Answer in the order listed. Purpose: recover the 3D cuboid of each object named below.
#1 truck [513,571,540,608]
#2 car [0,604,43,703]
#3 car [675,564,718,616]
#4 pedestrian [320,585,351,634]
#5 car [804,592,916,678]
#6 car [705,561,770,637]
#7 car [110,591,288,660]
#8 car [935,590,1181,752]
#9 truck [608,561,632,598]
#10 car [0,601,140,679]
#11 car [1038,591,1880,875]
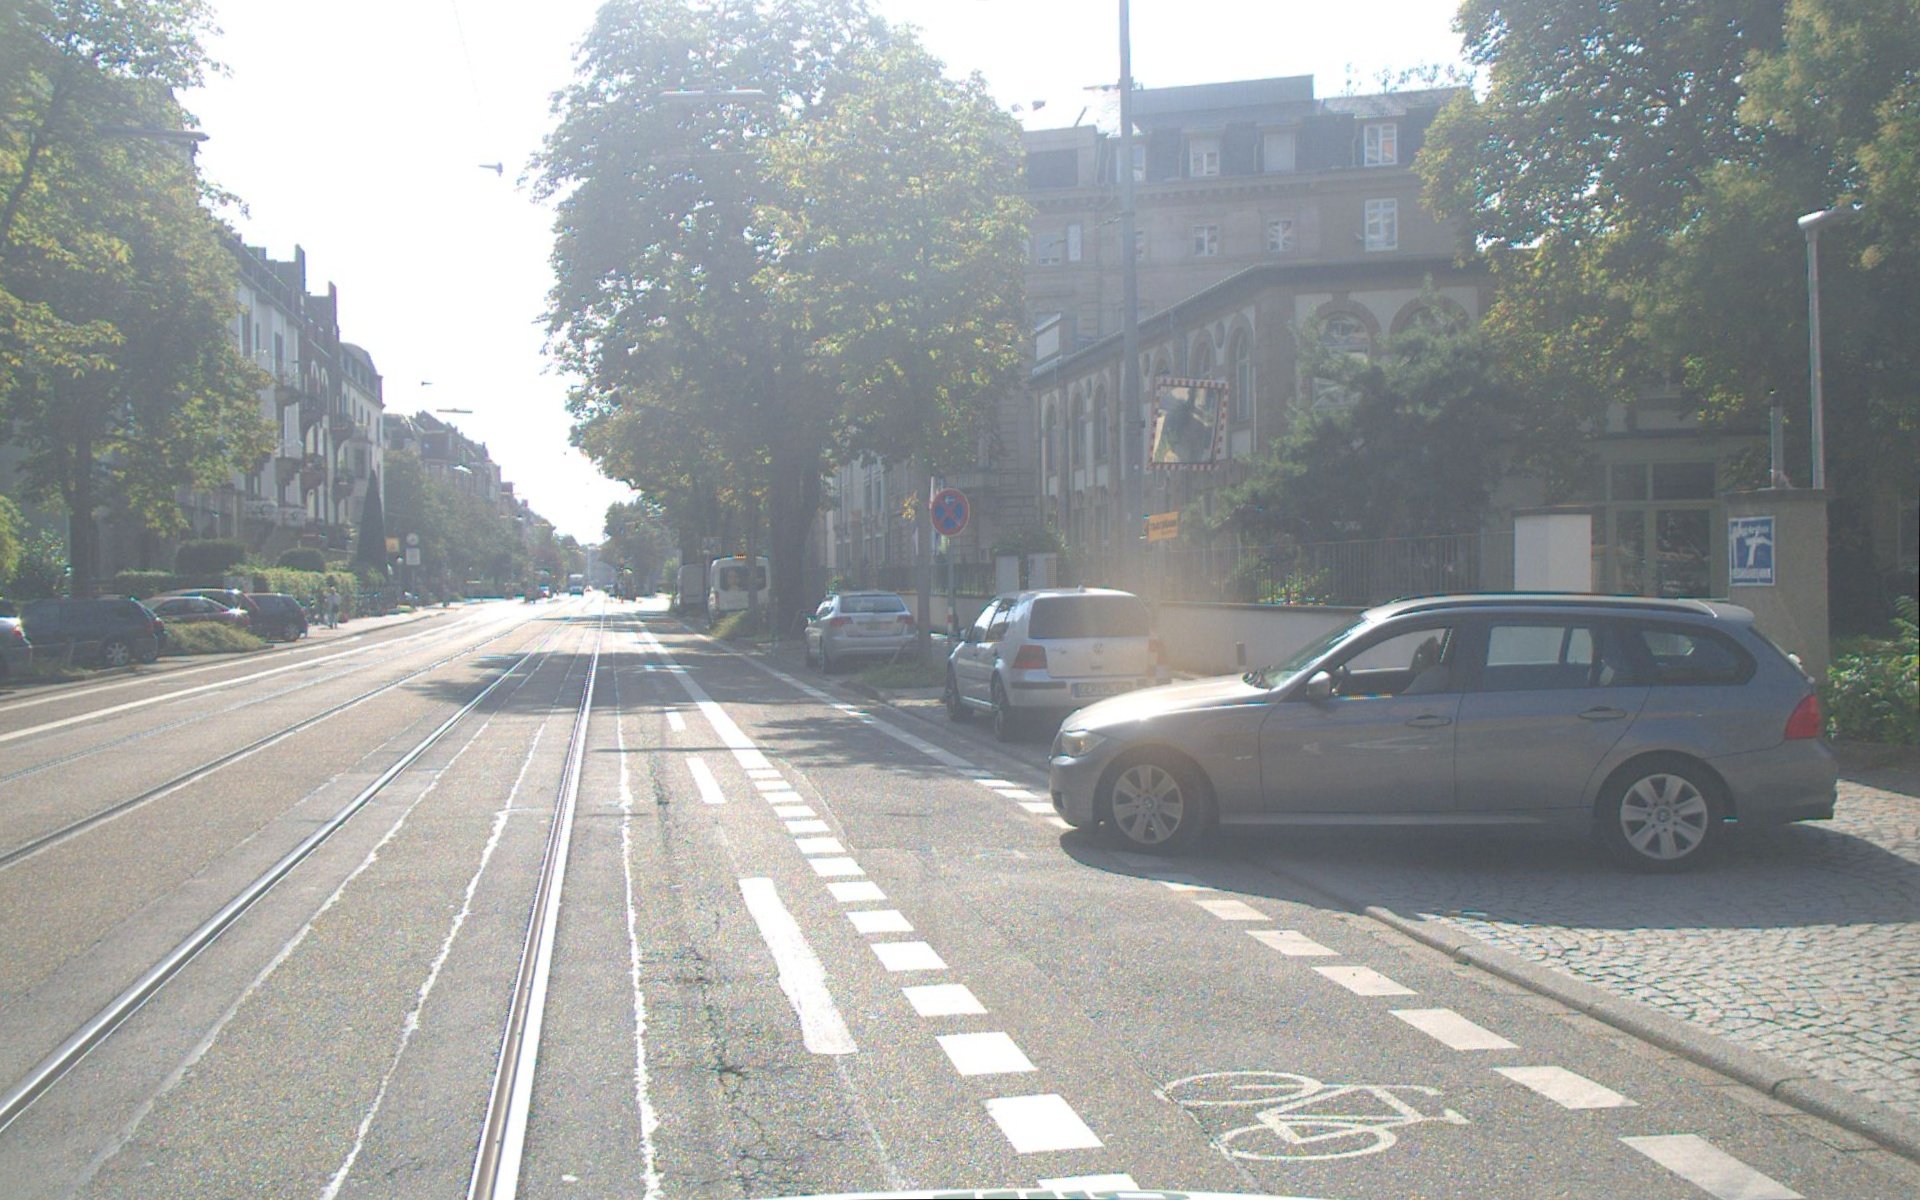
[{"bbox_3d":[-37.132,-0.913,141.708,1.959,3.027,4.556,-1,1,-13],"label":"truck"},{"bbox_3d":[-15.611,0.824,24.006,1.537,1.468,3.754,0,1,32],"label":"car"},{"bbox_3d":[-13.406,-0.517,83.900,1.969,2.518,4.465,-1,1,-11],"label":"car"},{"bbox_3d":[-22.888,0.336,60.645,0.945,1.791,0.659,-1,0,-13],"label":"pedestrian"},{"bbox_3d":[-1.878,0.595,30.259,1.566,1.443,3.624,-1,1,-11],"label":"car"},{"bbox_3d":[-7.813,-0.061,57.683,1.969,2.534,4.465,-1,1,-11],"label":"car"},{"bbox_3d":[-19.828,0.626,43.170,3.961,1.668,1.667,-1,1,-39],"label":"car"},{"bbox_3d":[0.883,0.632,16.910,1.659,1.443,3.624,-1,1,-11],"label":"car"},{"bbox_3d":[-29.502,-1.752,143.331,1.829,3.185,4.336,-1,0,-14],"label":"truck"},{"bbox_3d":[-18.222,0.759,32.246,1.537,1.431,3.754,0,1,32],"label":"car"},{"bbox_3d":[2.750,0.687,9.746,4.326,1.434,1.807,0,0,12],"label":"car"}]
